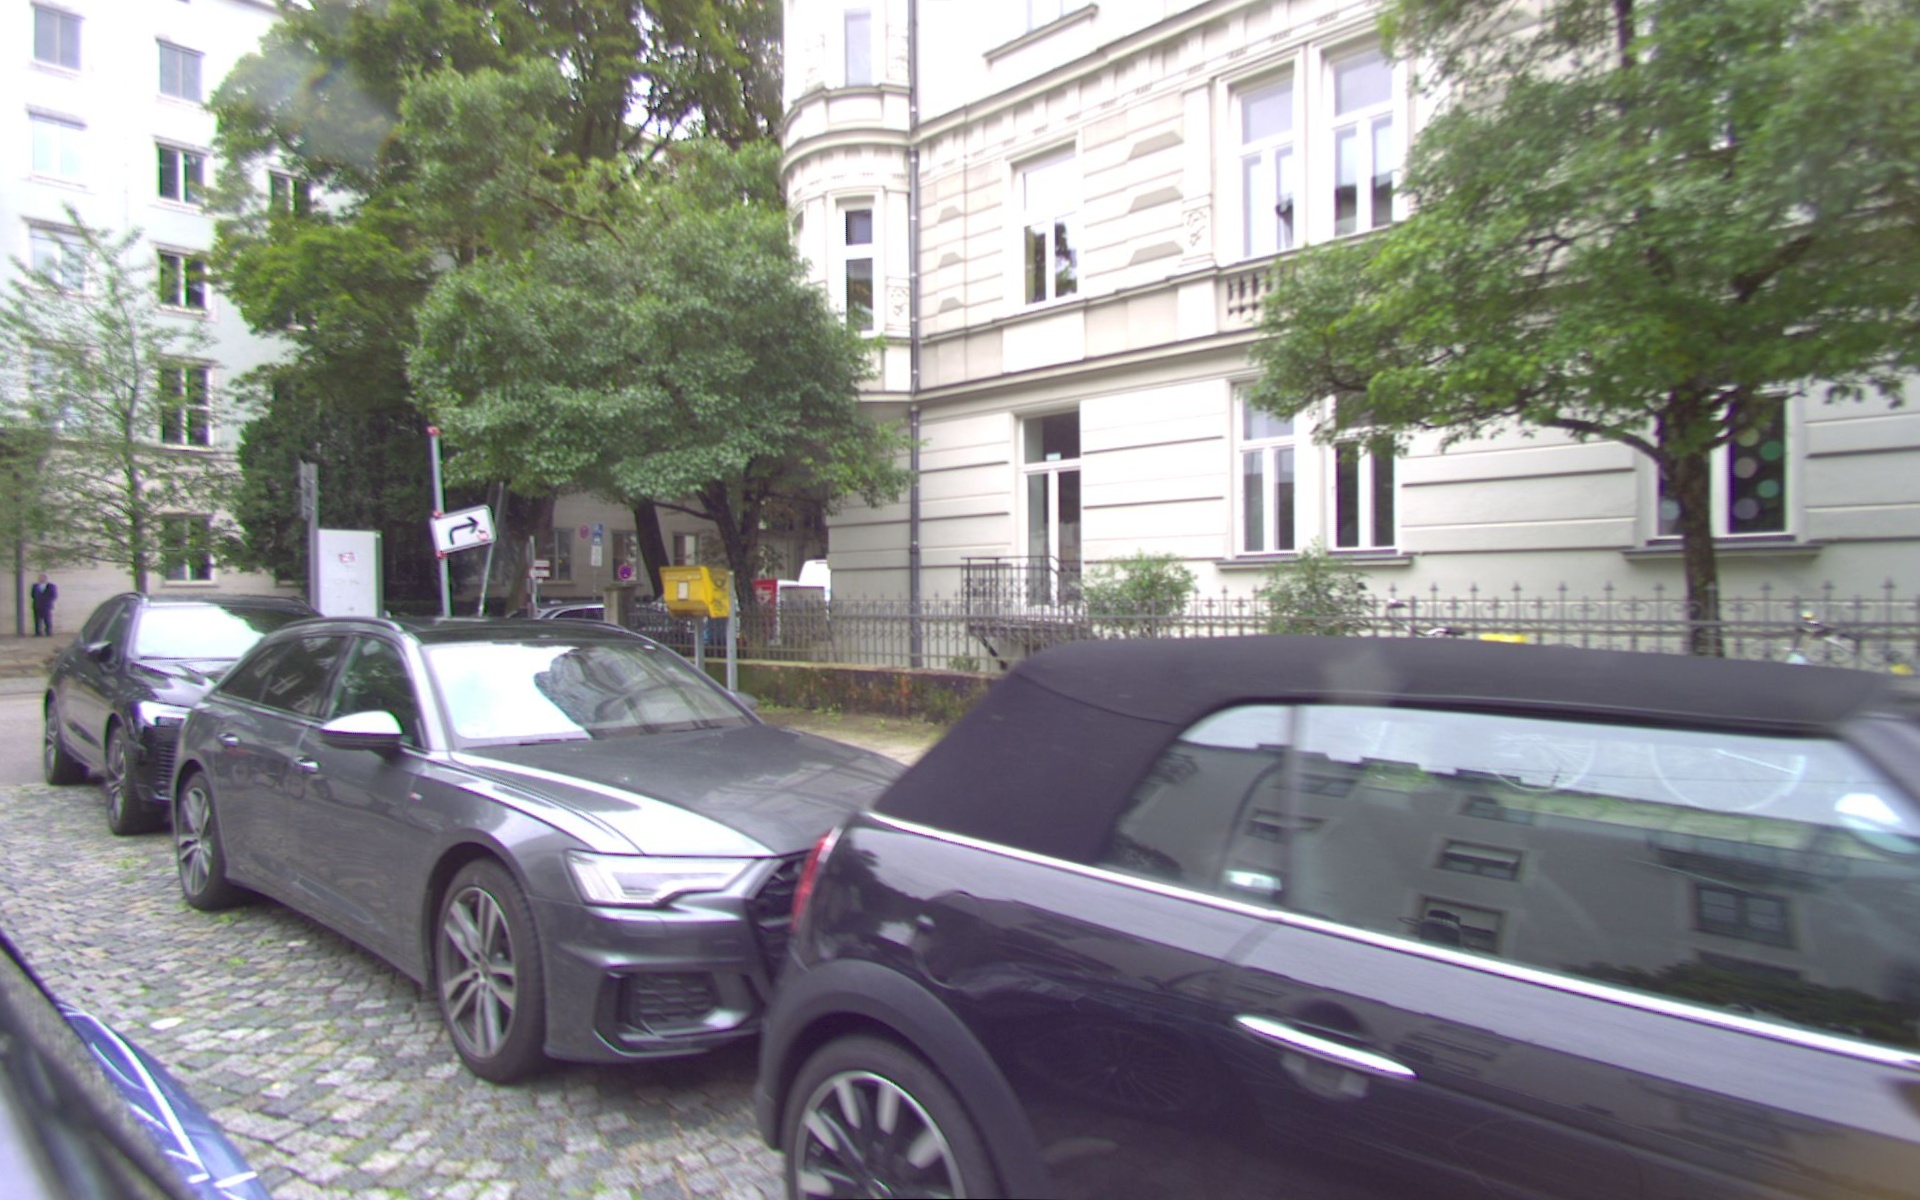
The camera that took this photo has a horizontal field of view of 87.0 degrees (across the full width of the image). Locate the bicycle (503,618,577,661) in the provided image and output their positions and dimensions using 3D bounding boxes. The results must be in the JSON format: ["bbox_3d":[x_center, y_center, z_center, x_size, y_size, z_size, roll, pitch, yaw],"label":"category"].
[{"bbox_3d":[-11.427,1.053,27.579,0.635,1.111,1.741,1,0,45],"label":"bicycle"}]

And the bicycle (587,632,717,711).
[{"bbox_3d":[-4.593,1.044,15.197,0.431,1.036,1.863,-2,0,44],"label":"bicycle"}]

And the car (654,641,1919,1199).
[{"bbox_3d":[1.286,0.853,1.730,3.723,1.528,1.686,-1,-3,40],"label":"car"}]

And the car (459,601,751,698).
[{"bbox_3d":[-6.400,0.832,18.571,2.281,1.558,4.520,-3,-2,45],"label":"car"}]

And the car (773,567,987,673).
[{"bbox_3d":[-1.747,0.463,23.620,2.210,2.225,4.789,-3,-2,41],"label":"car"}]

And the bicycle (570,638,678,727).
[{"bbox_3d":[-4.424,1.044,13.245,0.549,1.036,1.930,-2,0,-44],"label":"bicycle"}]

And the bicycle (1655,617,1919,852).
[{"bbox_3d":[4.731,0.667,5.189,1.886,1.141,0.359,-1,1,41],"label":"bicycle"}]

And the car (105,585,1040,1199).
[{"bbox_3d":[-2.261,0.800,4.848,5.171,1.516,1.787,-1,-3,39],"label":"car"}]

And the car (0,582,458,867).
[{"bbox_3d":[-6.242,0.796,8.326,5.051,1.665,1.917,0,-4,41],"label":"car"}]

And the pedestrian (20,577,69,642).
[{"bbox_3d":[-25.723,0.271,28.441,0.751,1.766,0.889,-1,-2,38],"label":"pedestrian"}]

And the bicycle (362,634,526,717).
[{"bbox_3d":[-7.570,1.072,14.985,0.653,1.036,2.182,-2,0,27],"label":"bicycle"}]

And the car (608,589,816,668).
[{"bbox_3d":[-6.775,0.701,28.214,2.253,1.971,5.381,1,1,40],"label":"car"}]

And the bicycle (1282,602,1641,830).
[{"bbox_3d":[3.120,0.654,6.455,1.978,1.258,0.495,-1,1,41],"label":"bicycle"}]
